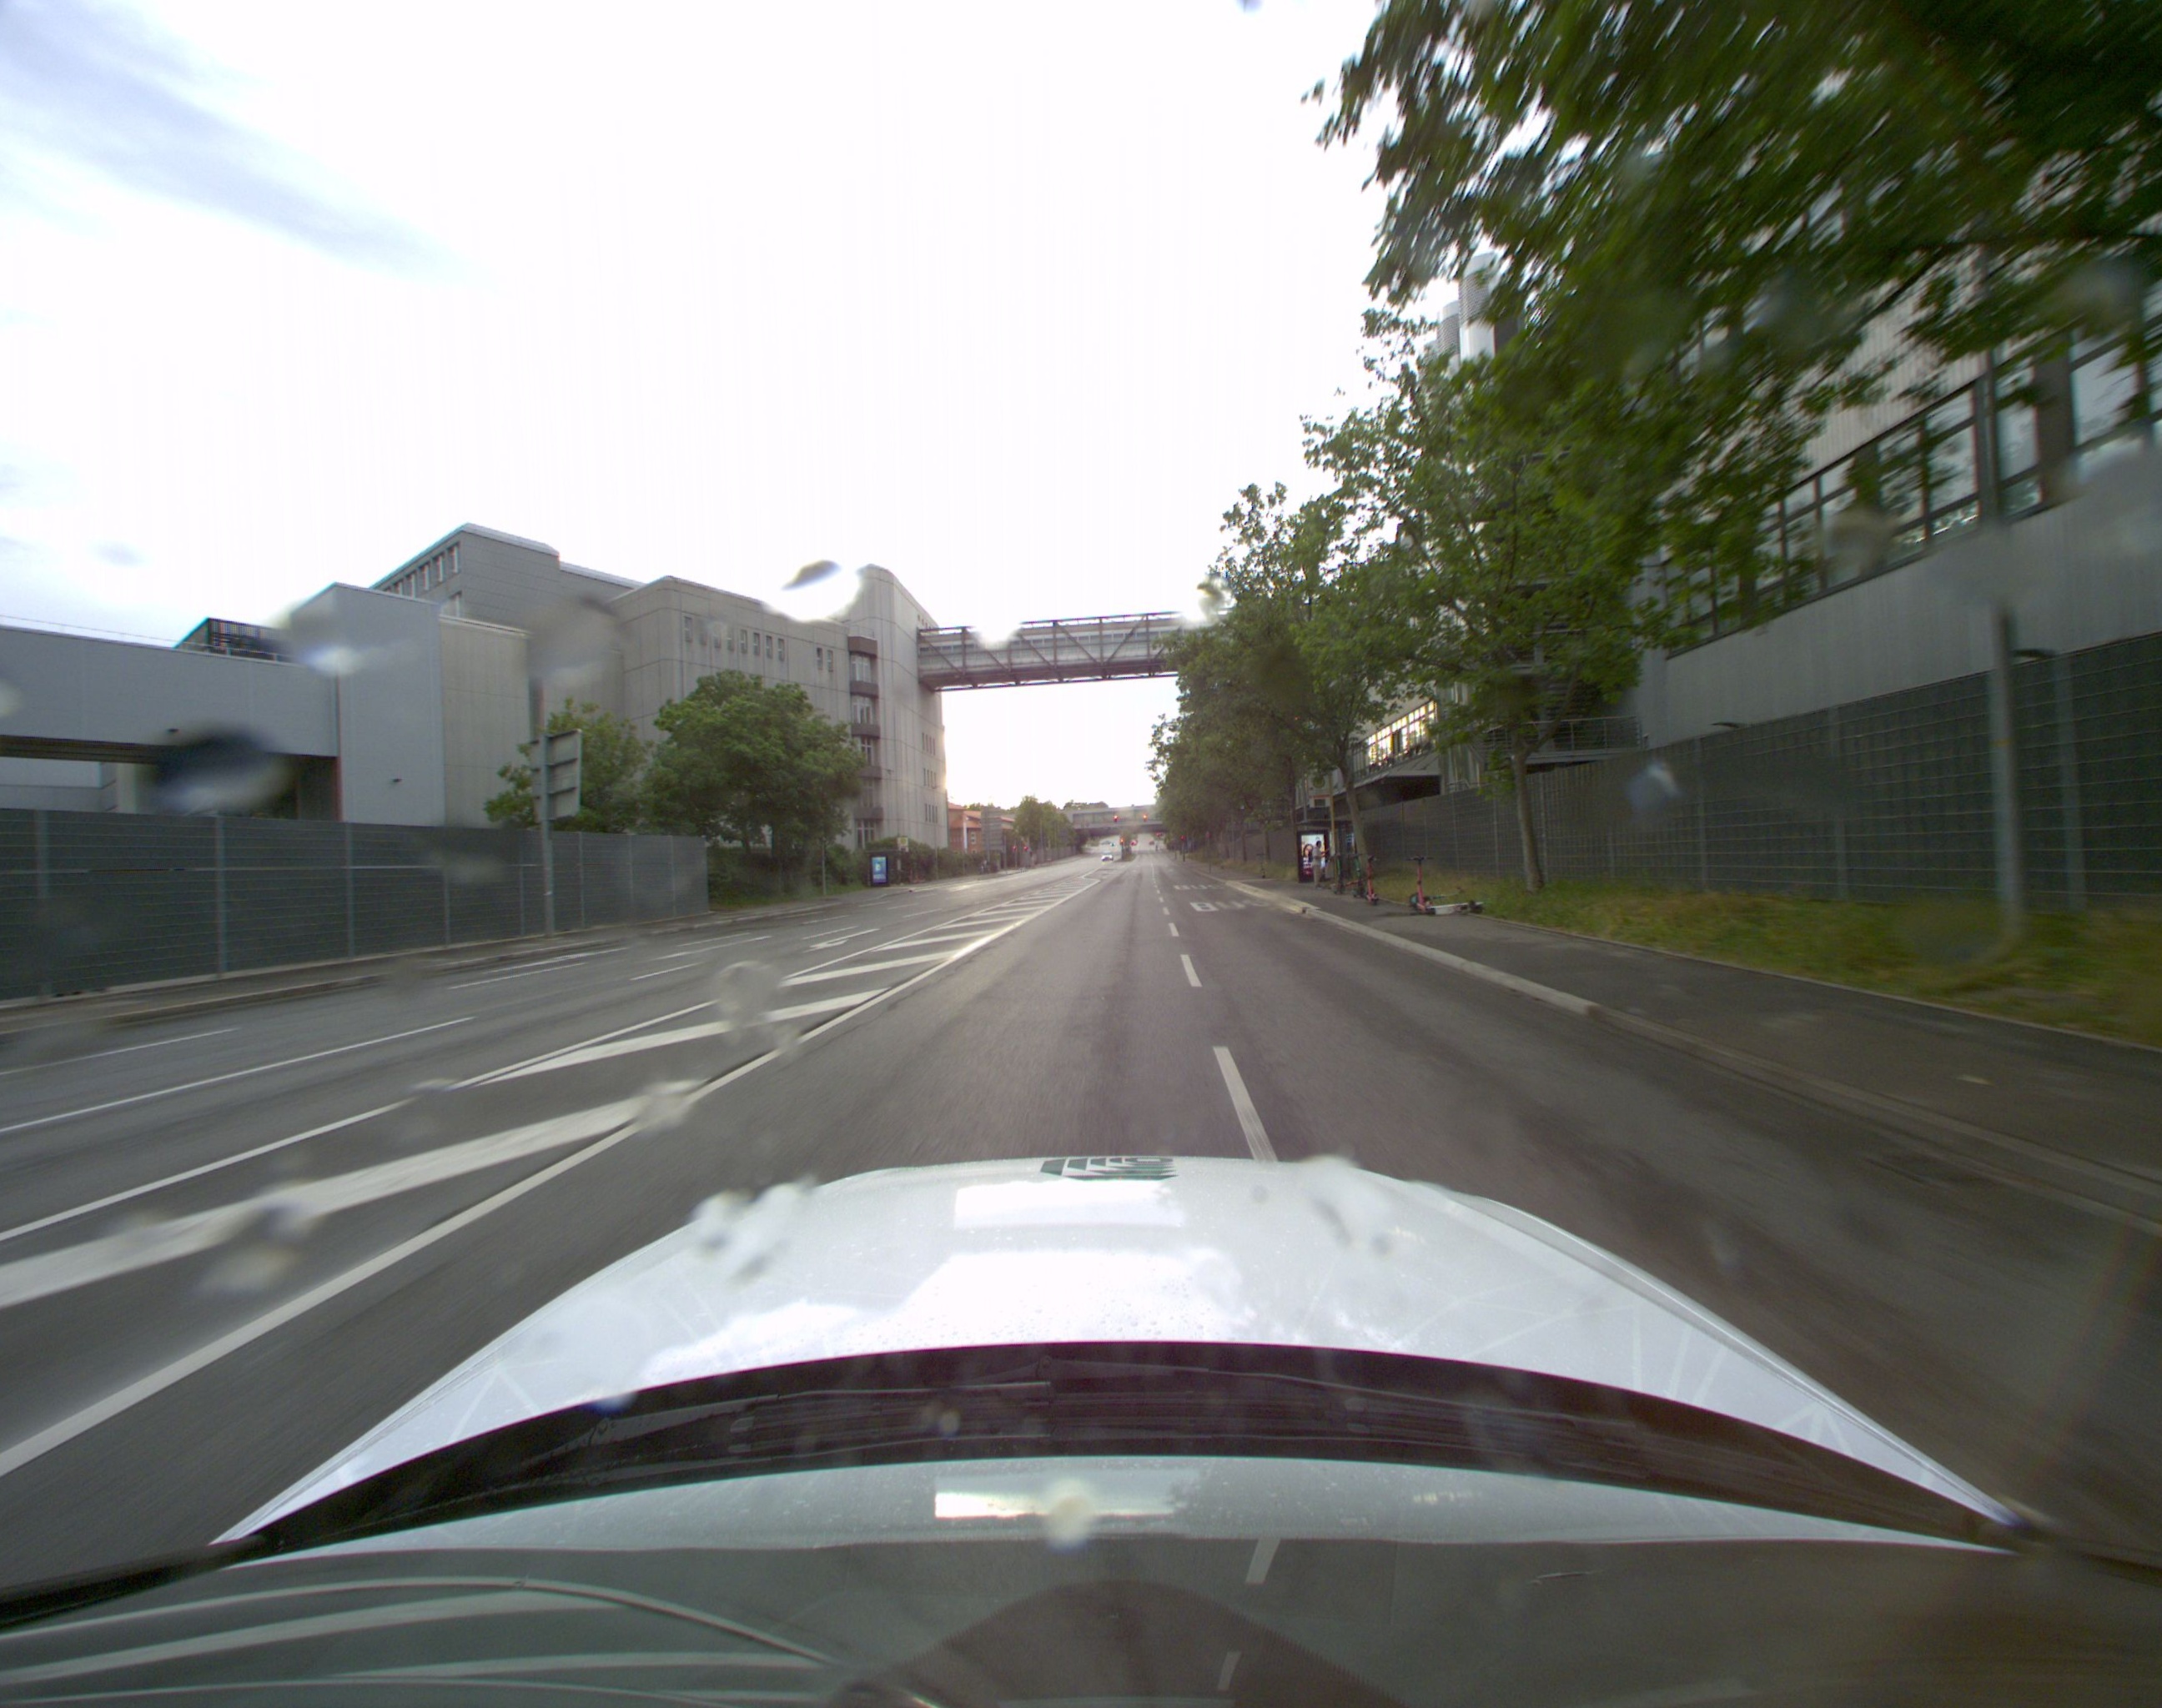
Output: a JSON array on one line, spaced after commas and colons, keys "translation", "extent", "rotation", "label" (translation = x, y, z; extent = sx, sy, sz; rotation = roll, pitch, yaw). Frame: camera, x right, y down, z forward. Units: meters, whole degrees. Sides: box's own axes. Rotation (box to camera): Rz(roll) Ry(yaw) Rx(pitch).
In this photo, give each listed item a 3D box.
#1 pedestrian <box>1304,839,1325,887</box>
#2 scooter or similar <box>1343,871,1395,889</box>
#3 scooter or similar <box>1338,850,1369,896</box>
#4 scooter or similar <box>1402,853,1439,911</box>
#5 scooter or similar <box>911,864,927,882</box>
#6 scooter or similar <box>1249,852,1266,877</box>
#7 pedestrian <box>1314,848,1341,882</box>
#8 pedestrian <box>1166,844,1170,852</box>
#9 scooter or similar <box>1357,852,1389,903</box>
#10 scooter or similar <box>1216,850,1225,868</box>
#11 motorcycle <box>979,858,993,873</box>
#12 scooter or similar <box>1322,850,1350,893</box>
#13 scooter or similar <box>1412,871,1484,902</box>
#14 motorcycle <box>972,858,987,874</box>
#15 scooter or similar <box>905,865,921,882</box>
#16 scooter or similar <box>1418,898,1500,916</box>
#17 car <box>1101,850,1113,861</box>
[{"translation": [8.350, 0.330, 29.138], "extent": [0.479, 1.667, 0.662], "rotation": [-3, 0, 2], "label": "pedestrian"}, {"translation": [9.444, 0.856, 26.720], "extent": [1.548, 0.519, 0.647], "rotation": [-3, 0, 21], "label": "scooter or similar"}, {"translation": [7.878, 0.534, 23.575], "extent": [0.473, 1.293, 1.435], "rotation": [-3, 0, 5], "label": "scooter or similar"}, {"translation": [7.500, 0.598, 18.031], "extent": [0.387, 1.226, 1.075], "rotation": [-3, 0, 5], "label": "scooter or similar"}, {"translation": [-12.447, 1.453, 62.602], "extent": [0.494, 1.252, 1.926], "rotation": [-3, 0, 9], "label": "scooter or similar"}, {"translation": [9.009, 0.529, 41.519], "extent": [0.693, 1.244, 1.929], "rotation": [-3, 0, 16], "label": "scooter or similar"}, {"translation": [10.028, 0.448, 33.179], "extent": [0.945, 1.317, 0.688], "rotation": [-3, -1, 10], "label": "pedestrian"}, {"translation": [23.993, -1.664, 224.748], "extent": [1.049, 2.013, 1.155], "rotation": [-3, -1, 15], "label": "pedestrian"}, {"translation": [7.593, 0.595, 21.241], "extent": [0.431, 1.270, 1.195], "rotation": [-3, 0, 5], "label": "scooter or similar"}, {"translation": [10.922, 0.364, 63.640], "extent": [0.605, 1.366, 1.926], "rotation": [-3, 0, 9], "label": "scooter or similar"}, {"translation": [-10.468, 1.245, 90.237], "extent": [0.955, 1.556, 3.302], "rotation": [-3, 0, 2], "label": "motorcycle"}, {"translation": [8.029, 0.531, 25.680], "extent": [0.500, 1.293, 1.435], "rotation": [-3, 0, 5], "label": "scooter or similar"}, {"translation": [9.057, 0.796, 20.146], "extent": [0.656, 0.713, 1.511], "rotation": [-3, 0, -27], "label": "scooter or similar"}, {"translation": [-10.786, 1.256, 86.619], "extent": [0.910, 1.532, 3.302], "rotation": [-3, 0, 2], "label": "motorcycle"}, {"translation": [-12.473, 1.433, 60.512], "extent": [0.521, 1.252, 1.804], "rotation": [-3, 0, 9], "label": "scooter or similar"}, {"translation": [7.627, 1.067, 16.482], "extent": [0.654, 0.246, 1.515], "rotation": [-3, 0, -17], "label": "scooter or similar"}, {"translation": [4.464, 0.324, 140.336], "extent": [1.986, 1.772, 4.001], "rotation": [-3, 0, 1], "label": "car"}]
